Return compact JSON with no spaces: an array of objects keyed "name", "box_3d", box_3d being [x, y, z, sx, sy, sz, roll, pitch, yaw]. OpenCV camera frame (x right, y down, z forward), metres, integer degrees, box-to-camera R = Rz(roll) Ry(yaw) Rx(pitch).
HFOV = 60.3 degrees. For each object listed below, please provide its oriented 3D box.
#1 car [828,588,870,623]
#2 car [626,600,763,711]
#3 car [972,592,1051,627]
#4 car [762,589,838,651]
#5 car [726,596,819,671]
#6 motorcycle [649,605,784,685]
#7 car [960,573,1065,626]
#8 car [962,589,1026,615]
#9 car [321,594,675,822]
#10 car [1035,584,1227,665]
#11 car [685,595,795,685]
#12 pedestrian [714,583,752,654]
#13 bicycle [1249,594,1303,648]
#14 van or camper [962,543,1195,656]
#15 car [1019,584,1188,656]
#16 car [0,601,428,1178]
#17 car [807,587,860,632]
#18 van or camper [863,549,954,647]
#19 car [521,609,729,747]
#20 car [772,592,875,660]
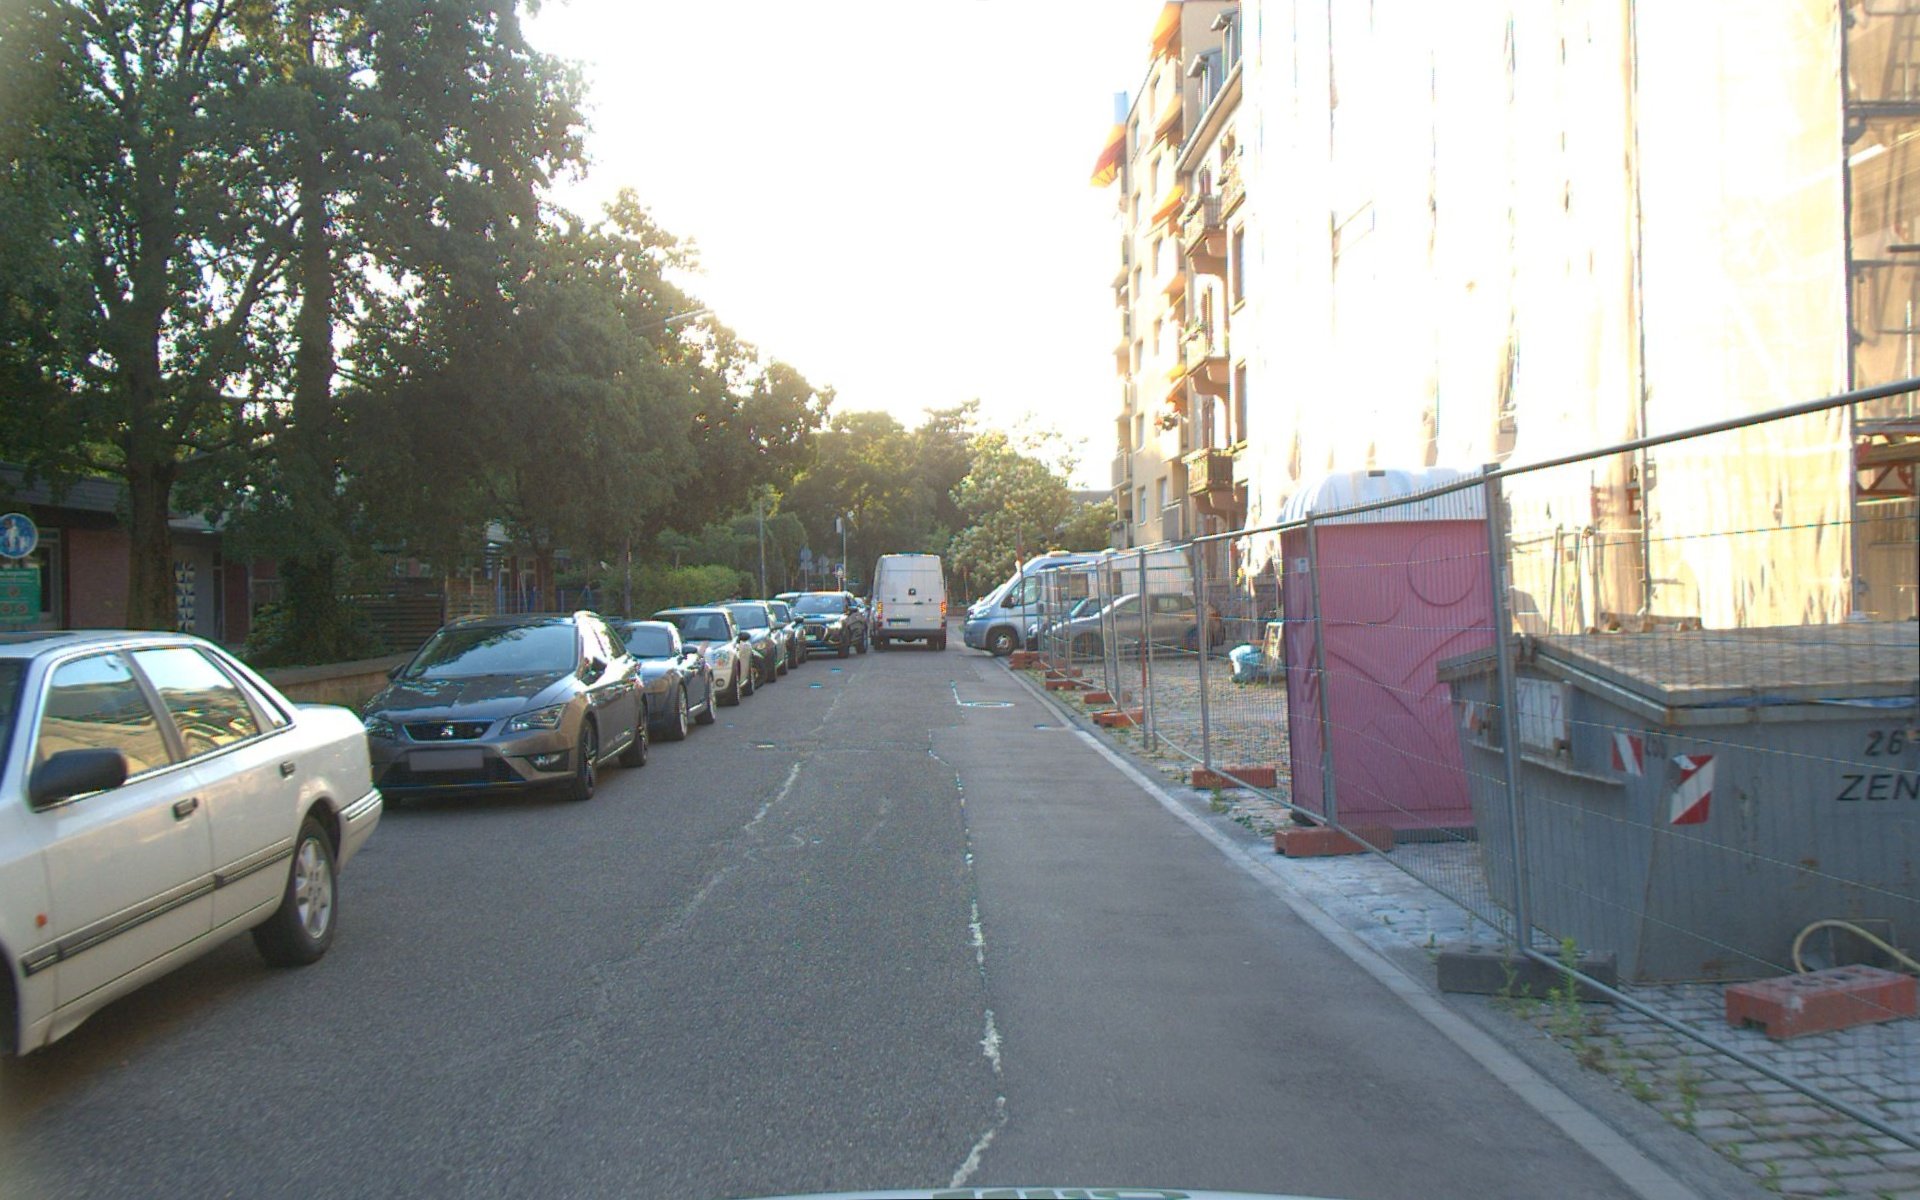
[{"name":"car","box_3d":[-5.273,0.254,79.081,1.954,1.646,3.997,0,0,-3]},{"name":"car","box_3d":[-3.971,0.787,25.233,1.569,1.456,3.801,-3,0,-3]},{"name":"car","box_3d":[2.556,0.467,82.978,3.906,1.758,2.000,0,0,-1]},{"name":"car","box_3d":[-4.622,0.547,48.304,1.747,1.659,4.000,-3,0,0]},{"name":"car","box_3d":[-4.120,0.701,36.799,1.604,1.504,3.992,-2,0,-1]},{"name":"motorcycle","box_3d":[-4.182,0.764,28.442,2.118,1.326,0.880,0,0,12]},{"name":"car","box_3d":[2.245,-0.029,71.854,4.405,2.269,2.031,0,0,-3]},{"name":"car","box_3d":[2.148,0.136,105.246,3.909,1.646,1.998,0,0,-5]},{"name":"car","box_3d":[-3.705,0.760,14.193,1.822,1.565,4.756,-2,0,-2]},{"name":"car","box_3d":[3.799,0.531,37.156,3.911,1.542,2.017,-3,0,-6]},{"name":"car","box_3d":[-4.131,0.709,31.638,1.681,1.522,4.358,-2,0,-3]},{"name":"pedestrian","box_3d":[-5.979,0.477,43.678,0.919,1.862,0.786,0,0,-3]},{"name":"bicycle","box_3d":[7.218,0.457,37.892,0.618,1.189,2.031,0,0,-7]},{"name":"van or camper","box_3d":[2.997,-0.008,42.776,5.810,2.818,2.108,0,0,-3]},{"name":"car","box_3d":[3.419,0.486,39.989,3.855,1.512,1.786,-3,-1,-1]},{"name":"car","box_3d":[-3.440,0.800,5.736,1.747,1.471,4.746,-3,0,-2]},{"name":"car","box_3d":[-4.927,0.354,63.849,1.955,1.691,3.995,0,0,-6]},{"name":"van or camper","box_3d":[-1.465,-0.070,47.824,2.404,2.591,6.081,1,0,-1]},{"name":"car","box_3d":[-3.813,0.831,19.478,1.625,1.336,4.153,-2,0,-1]},{"name":"car","box_3d":[-3.369,0.606,41.611,1.766,1.597,4.568,-1,0,6]}]
